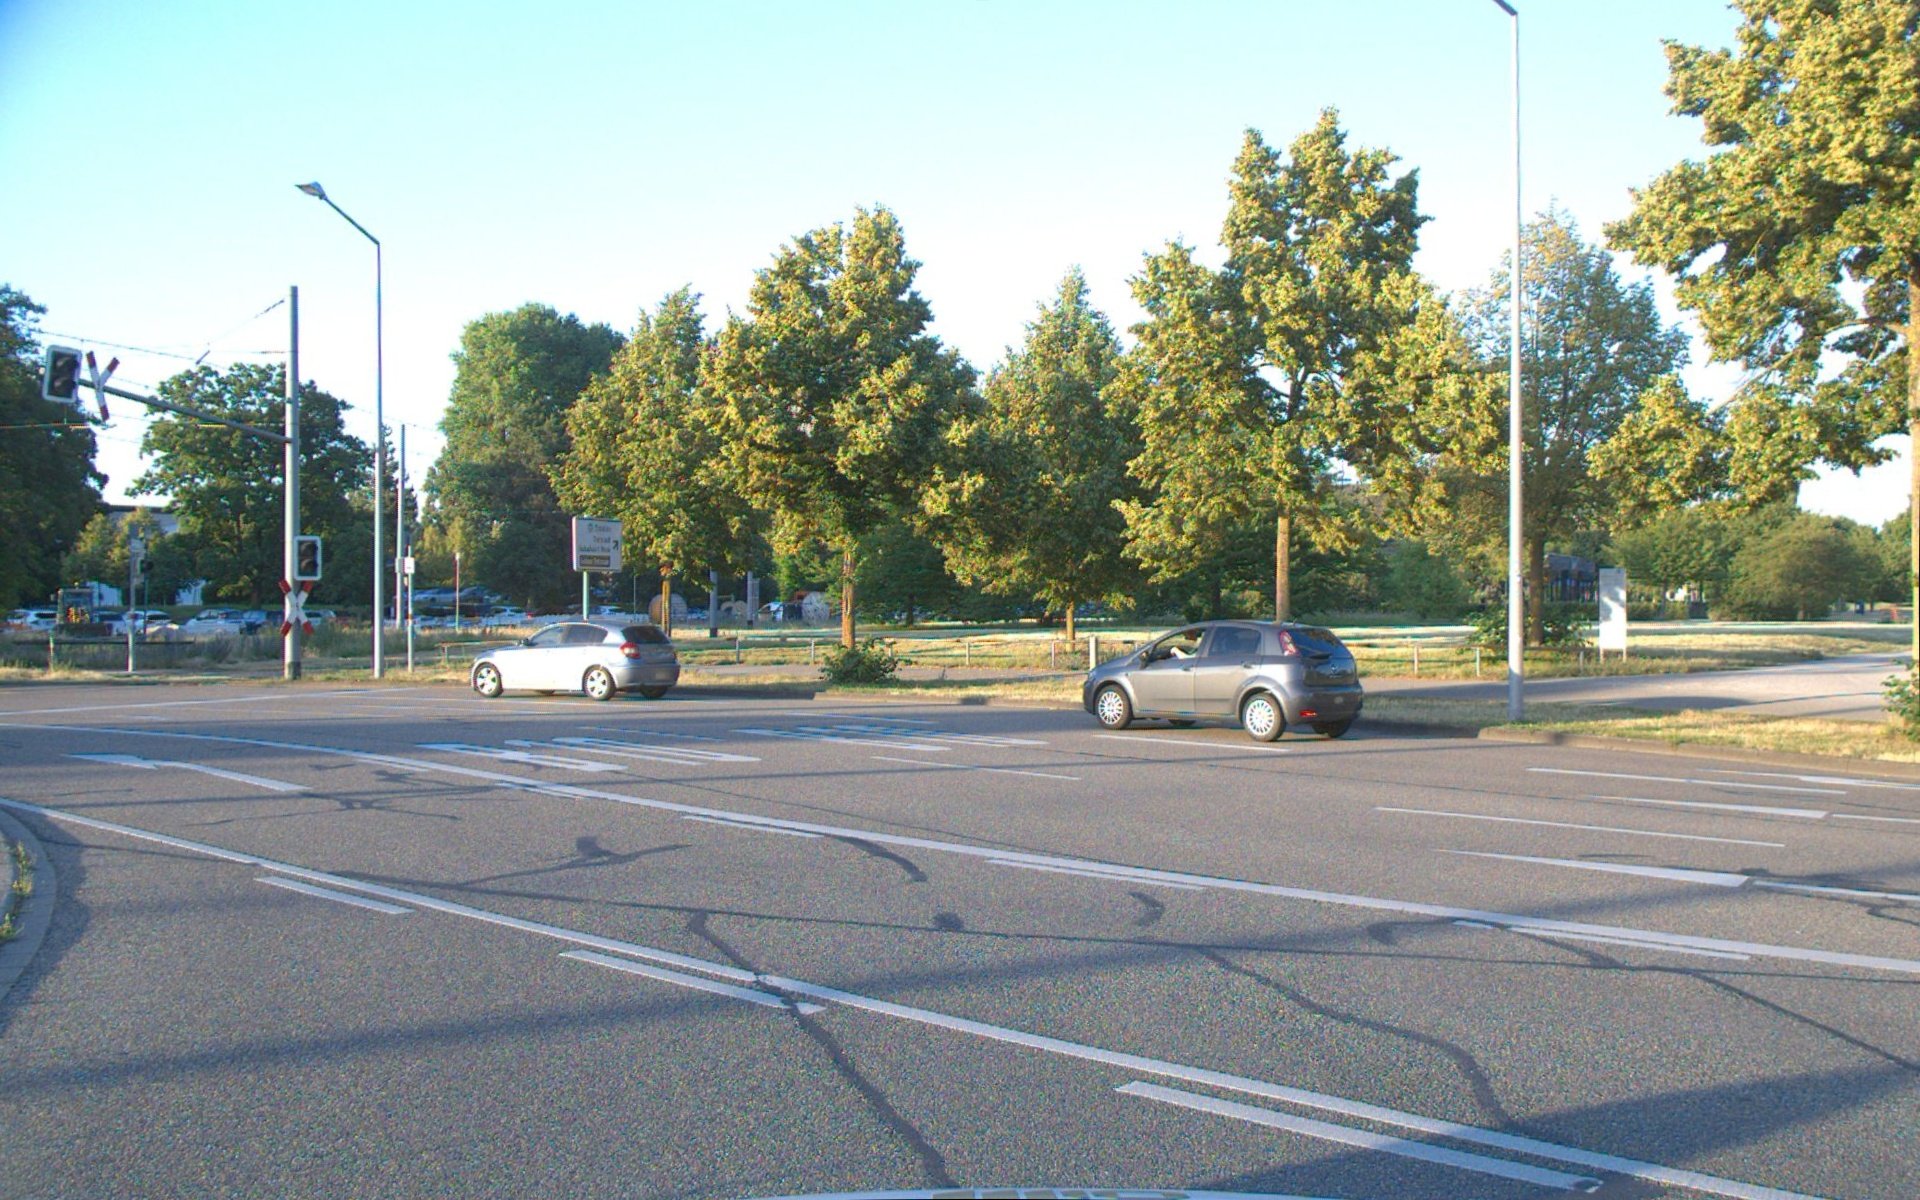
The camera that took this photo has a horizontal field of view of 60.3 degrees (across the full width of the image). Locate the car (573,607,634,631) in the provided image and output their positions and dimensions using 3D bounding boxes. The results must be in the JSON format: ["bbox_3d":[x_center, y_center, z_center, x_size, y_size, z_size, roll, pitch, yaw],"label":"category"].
[{"bbox_3d":[-24.913,1.328,115.425,3.915,1.632,1.995,0,0,32],"label":"car"}]

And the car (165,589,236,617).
[{"bbox_3d":[-56.660,0.247,123.488,1.956,2.049,4.590,0,0,29],"label":"car"}]

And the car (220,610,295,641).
[{"bbox_3d":[-39.098,1.401,92.044,3.915,1.632,1.995,0,0,32],"label":"car"}]

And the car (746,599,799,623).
[{"bbox_3d":[-13.014,0.765,114.675,1.724,1.646,3.940,0,0,-41],"label":"car"}]

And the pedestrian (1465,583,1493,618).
[{"bbox_3d":[24.936,0.021,79.485,1.047,1.646,0.911,0,0,2],"label":"pedestrian"}]

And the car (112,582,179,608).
[{"bbox_3d":[-67.132,-0.403,136.336,1.958,2.049,4.585,0,0,33],"label":"car"}]

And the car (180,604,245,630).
[{"bbox_3d":[-50.572,1.116,111.869,3.939,1.691,1.983,0,0,-27],"label":"car"}]

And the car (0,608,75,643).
[{"bbox_3d":[-45.634,1.244,81.433,3.915,1.632,1.995,0,0,32],"label":"car"}]

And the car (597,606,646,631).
[{"bbox_3d":[-26.377,1.399,128.881,1.979,1.782,4.538,0,1,-37],"label":"car"}]

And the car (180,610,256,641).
[{"bbox_3d":[-40.540,1.370,90.376,3.915,1.632,1.995,0,0,32],"label":"car"}]

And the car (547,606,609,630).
[{"bbox_3d":[-26.281,1.242,113.676,3.915,1.632,1.995,0,0,32],"label":"car"}]

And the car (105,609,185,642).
[{"bbox_3d":[-42.264,1.320,85.786,3.915,1.632,1.995,0,0,32],"label":"car"}]

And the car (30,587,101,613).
[{"bbox_3d":[-70.547,-0.014,130.461,1.956,2.049,4.590,0,0,29],"label":"car"}]

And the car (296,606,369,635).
[{"bbox_3d":[-36.454,1.198,96.088,3.915,1.632,1.995,0,0,32],"label":"car"}]

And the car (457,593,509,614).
[{"bbox_3d":[-41.704,0.305,144.724,3.902,1.736,2.001,0,0,6],"label":"car"}]

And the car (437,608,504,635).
[{"bbox_3d":[-30.987,1.329,104.686,3.915,1.632,1.995,0,0,32],"label":"car"}]

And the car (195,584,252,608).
[{"bbox_3d":[-63.390,-0.315,142.358,1.958,2.049,4.105,0,0,33],"label":"car"}]

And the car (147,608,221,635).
[{"bbox_3d":[-50.241,1.377,107.082,1.863,1.691,3.987,0,0,34],"label":"car"}]

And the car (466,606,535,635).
[{"bbox_3d":[-32.537,1.447,117.156,4.499,2.049,1.996,0,0,-9],"label":"car"}]

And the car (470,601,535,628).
[{"bbox_3d":[-34.606,1.091,125.263,4.499,2.049,1.996,0,0,-9],"label":"car"}]

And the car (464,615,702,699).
[{"bbox_3d":[-6.890,0.994,30.162,4.071,1.414,1.864,0,0,30],"label":"car"}]

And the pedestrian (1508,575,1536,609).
[{"bbox_3d":[26.856,-0.378,79.041,1.047,1.646,0.911,0,0,2],"label":"pedestrian"}]

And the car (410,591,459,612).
[{"bbox_3d":[-47.967,0.123,151.062,1.959,1.847,3.987,0,0,34],"label":"car"}]

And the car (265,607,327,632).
[{"bbox_3d":[-45.828,1.327,114.111,3.933,1.691,1.889,0,0,-23],"label":"car"}]

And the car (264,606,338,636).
[{"bbox_3d":[-37.398,1.173,93.870,3.915,1.632,1.995,0,0,32],"label":"car"}]

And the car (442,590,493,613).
[{"bbox_3d":[-44.105,0.119,148.236,1.963,2.049,3.979,0,0,40],"label":"car"}]

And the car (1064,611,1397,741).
[{"bbox_3d":[3.502,0.921,21.912,1.853,1.479,4.097,-1,1,-43],"label":"car"}]
